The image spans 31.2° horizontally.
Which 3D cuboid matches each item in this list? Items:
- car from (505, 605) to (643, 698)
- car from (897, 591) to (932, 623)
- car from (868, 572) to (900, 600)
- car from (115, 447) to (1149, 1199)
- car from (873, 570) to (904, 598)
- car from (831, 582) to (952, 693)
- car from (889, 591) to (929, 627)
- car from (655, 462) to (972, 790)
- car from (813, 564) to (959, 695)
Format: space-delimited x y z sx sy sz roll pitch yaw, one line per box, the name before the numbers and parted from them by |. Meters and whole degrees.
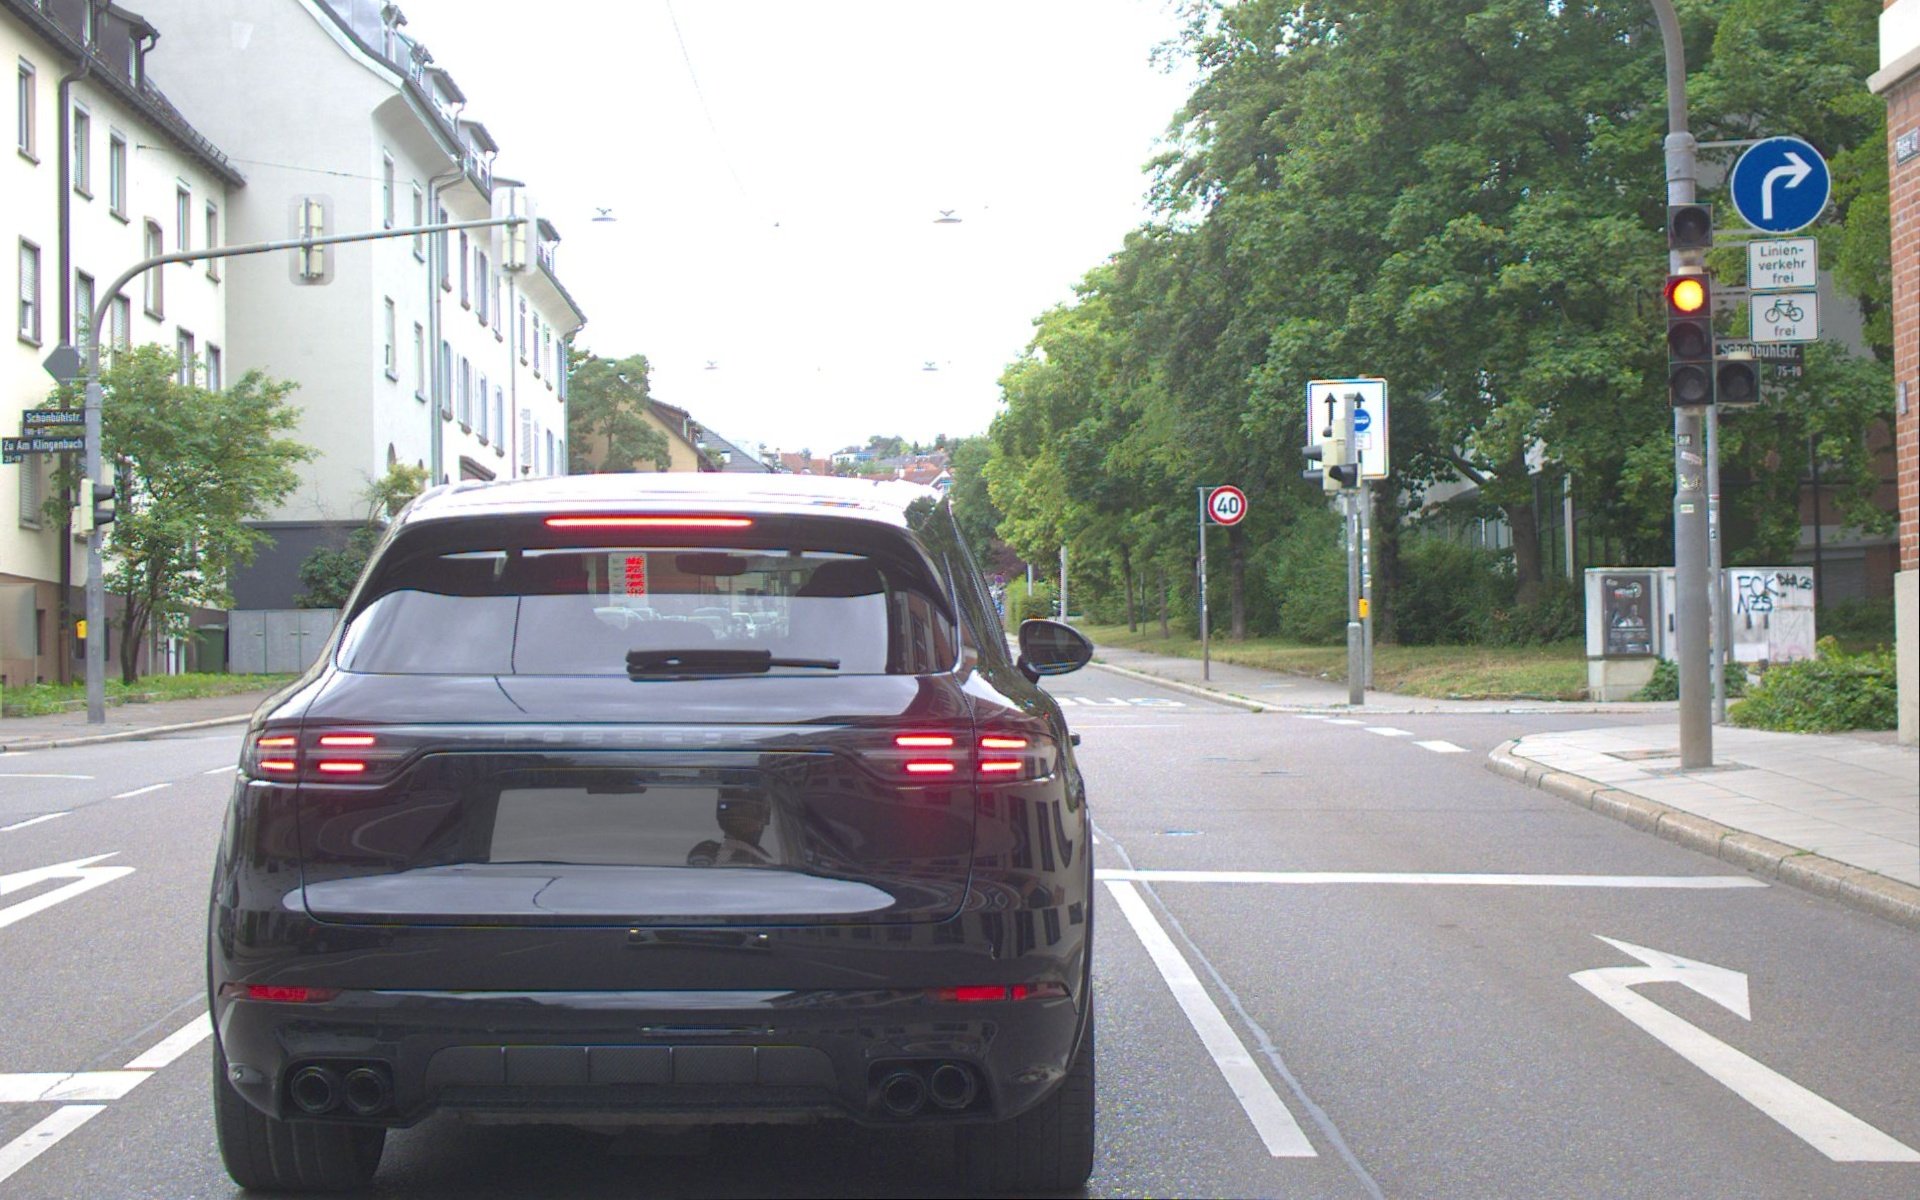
car | -6.520 0.846 58.534 1.785 1.414 4.670 -3 0 0
car | -2.408 0.349 184.243 1.827 1.599 4.135 1 1 0
car | -4.511 -0.833 204.701 1.827 1.599 4.135 1 1 0
car | -0.670 0.496 9.001 2.048 1.660 4.267 1 1 0
car | -4.413 -1.001 212.027 1.827 1.599 4.135 1 1 0
car | -1.056 0.562 54.298 1.827 1.599 3.859 1 1 0
car | -2.375 0.419 161.606 1.827 1.599 4.135 1 1 0
car | -0.932 0.124 23.654 1.965 2.035 4.135 1 1 0
car | -0.954 0.358 45.580 1.827 1.599 4.135 1 1 0
